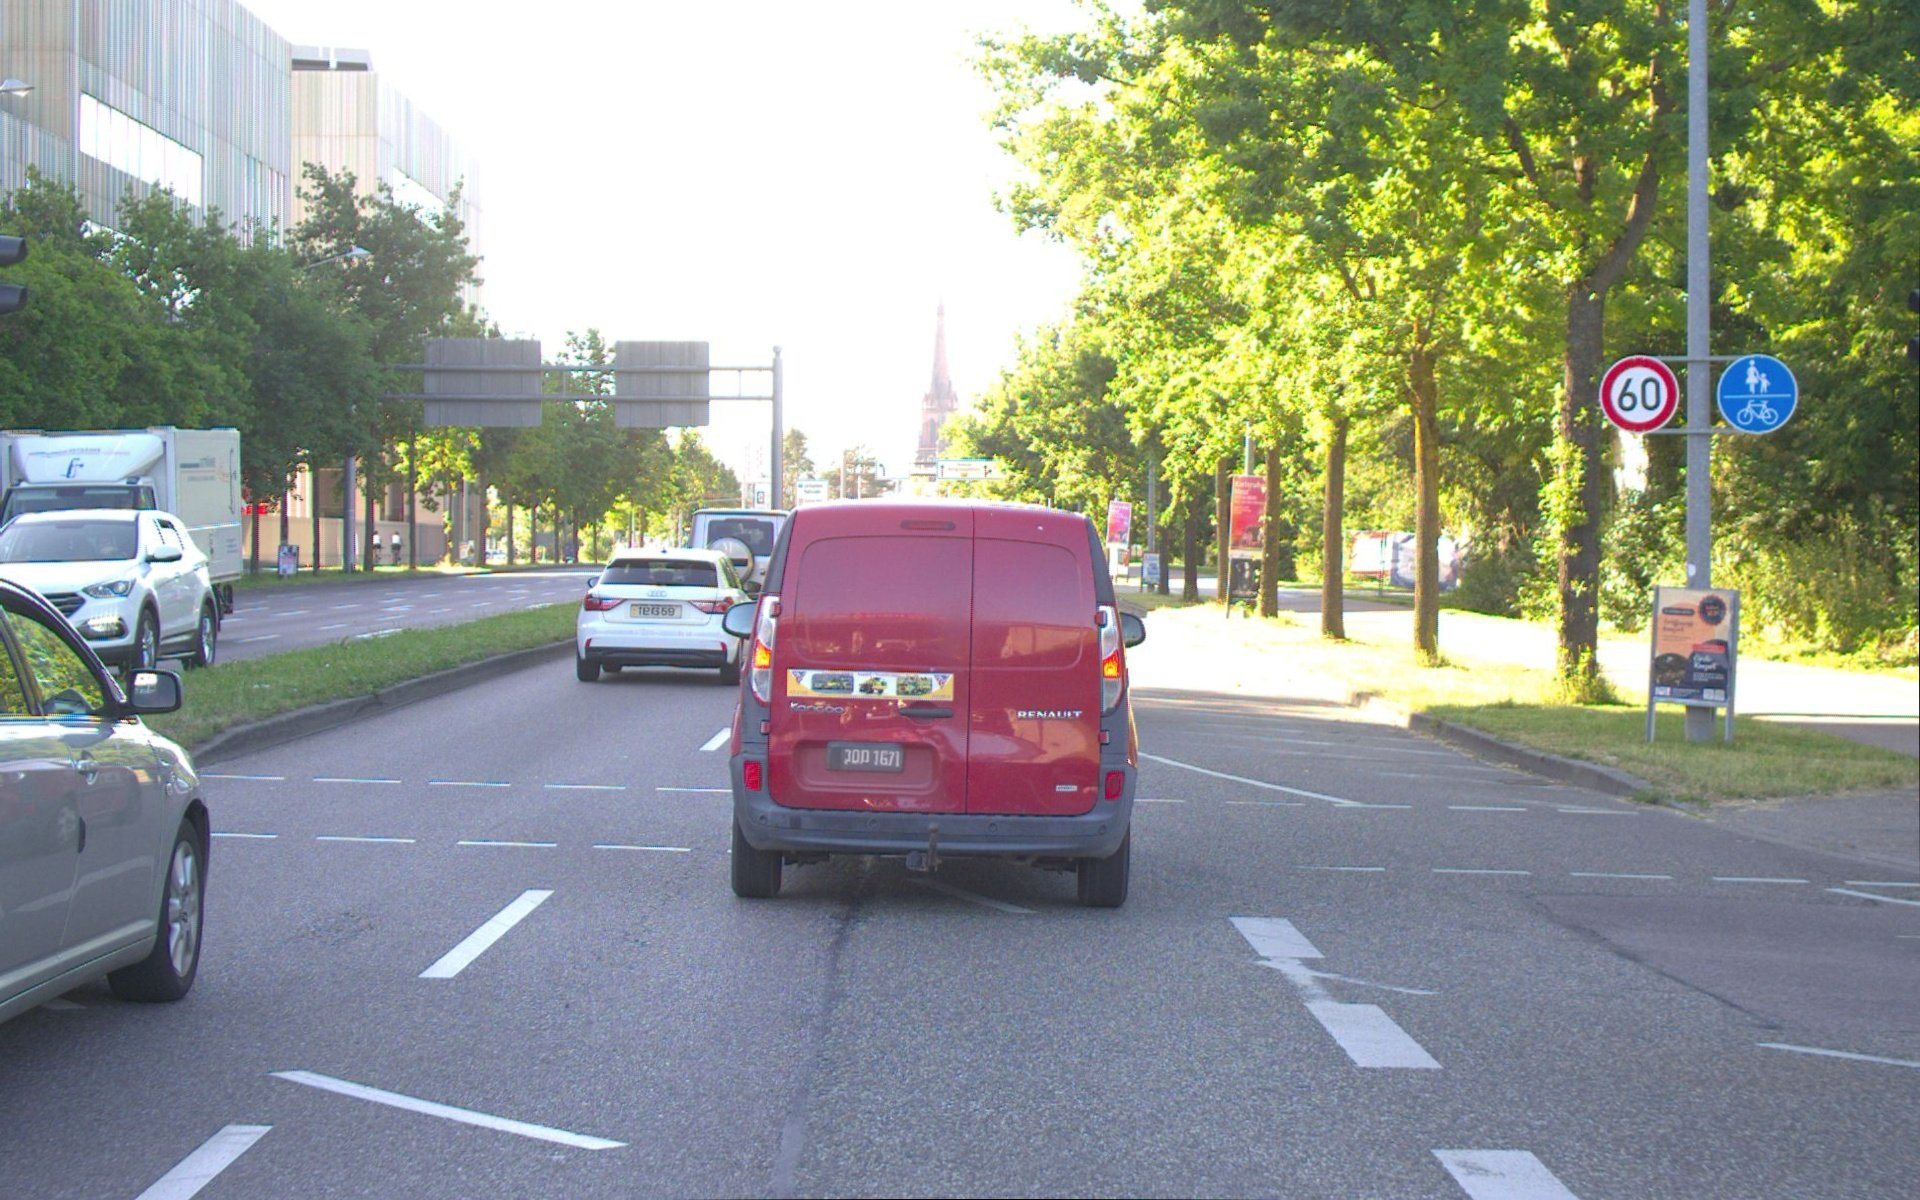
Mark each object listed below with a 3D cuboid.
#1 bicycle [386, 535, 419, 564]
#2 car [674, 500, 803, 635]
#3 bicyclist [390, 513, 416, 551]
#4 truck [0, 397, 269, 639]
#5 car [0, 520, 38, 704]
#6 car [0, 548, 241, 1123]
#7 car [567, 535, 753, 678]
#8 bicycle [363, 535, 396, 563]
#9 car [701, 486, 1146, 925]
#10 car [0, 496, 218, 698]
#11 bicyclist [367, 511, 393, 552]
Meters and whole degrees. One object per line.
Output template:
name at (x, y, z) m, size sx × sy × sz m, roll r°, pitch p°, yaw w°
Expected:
bicycle at (-25.075, -2.262, 154.613) m, size 0.909 × 1.195 × 3.300 m, roll 1°, pitch -1°, yaw 0°
car at (-3.421, -0.466, 53.742) m, size 1.801 × 1.982 × 4.589 m, roll 1°, pitch -1°, yaw -2°
bicyclist at (-25.062, -3.049, 154.619) m, size 0.909 × 1.680 × 1.409 m, roll 1°, pitch -1°, yaw 0°
truck at (-11.341, -1.075, 47.065) m, size 2.409 × 3.016 × 6.657 m, roll -2°, pitch 1°, yaw -1°
car at (-8.312, 0.125, 26.084) m, size 1.636 × 1.438 × 3.719 m, roll -2°, pitch 1°, yaw -1°
car at (-3.320, 0.587, 9.499) m, size 1.733 × 1.475 × 4.319 m, roll 1°, pitch 1°, yaw 0°
car at (-3.188, 0.038, 37.098) m, size 1.813 × 1.433 × 3.731 m, roll 1°, pitch 1°, yaw -3°
bicycle at (-26.100, -2.288, 154.608) m, size 0.909 × 1.195 × 3.300 m, roll 1°, pitch -1°, yaw 0°
car at (-0.217, 0.381, 16.309) m, size 1.805 × 1.788 × 4.001 m, roll 1°, pitch 2°, yaw -2°
car at (-8.467, -0.040, 33.103) m, size 1.757 × 1.790 × 4.083 m, roll -2°, pitch 1°, yaw -1°
bicyclist at (-26.068, -3.083, 154.590) m, size 0.909 × 1.760 × 1.396 m, roll 1°, pitch -1°, yaw 0°
